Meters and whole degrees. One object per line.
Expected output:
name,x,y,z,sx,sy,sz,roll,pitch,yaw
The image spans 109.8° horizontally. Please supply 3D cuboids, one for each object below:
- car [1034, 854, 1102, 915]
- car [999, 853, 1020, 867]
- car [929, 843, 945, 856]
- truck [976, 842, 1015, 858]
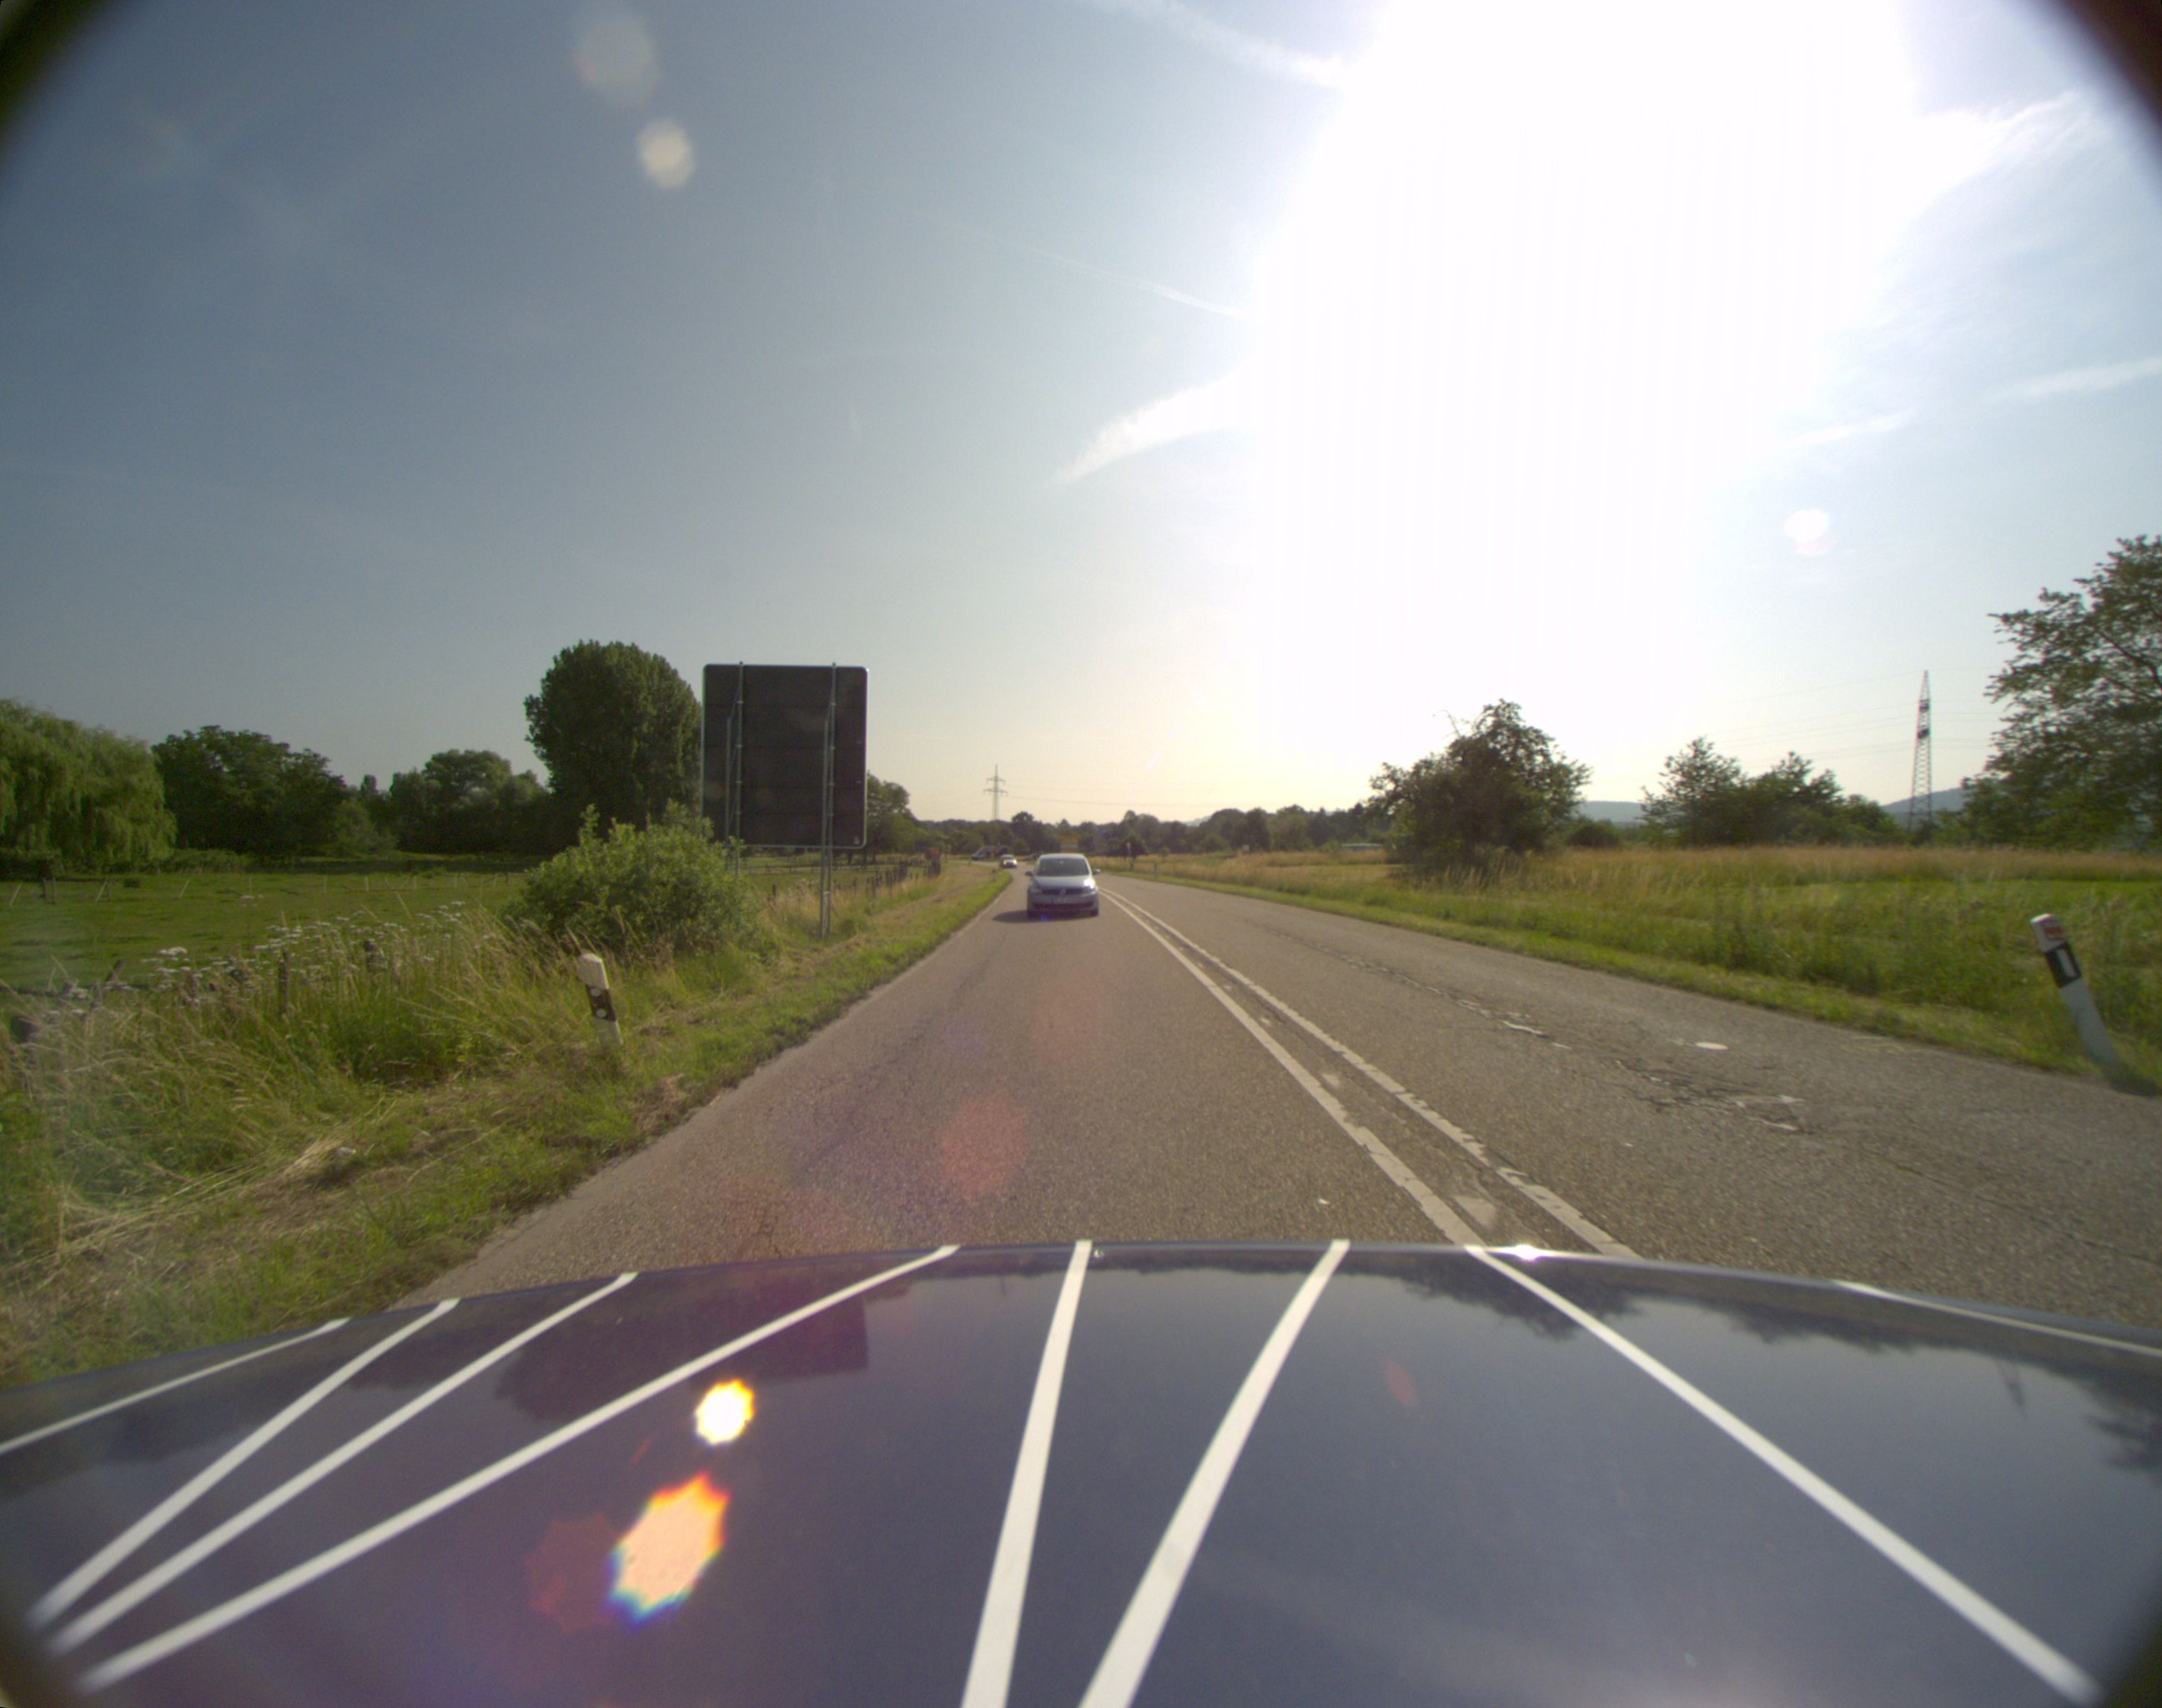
car,-0.459,0.772,21.515,1.718,1.496,4.092,-2,1,-4
car,-8.583,0.680,91.290,2.001,1.571,3.904,-1,1,-13
car,-30.131,-0.923,158.931,2.133,2.680,5.258,-1,1,-22
truck,-16.869,-0.771,149.374,7.366,3.028,2.581,-1,1,-10
